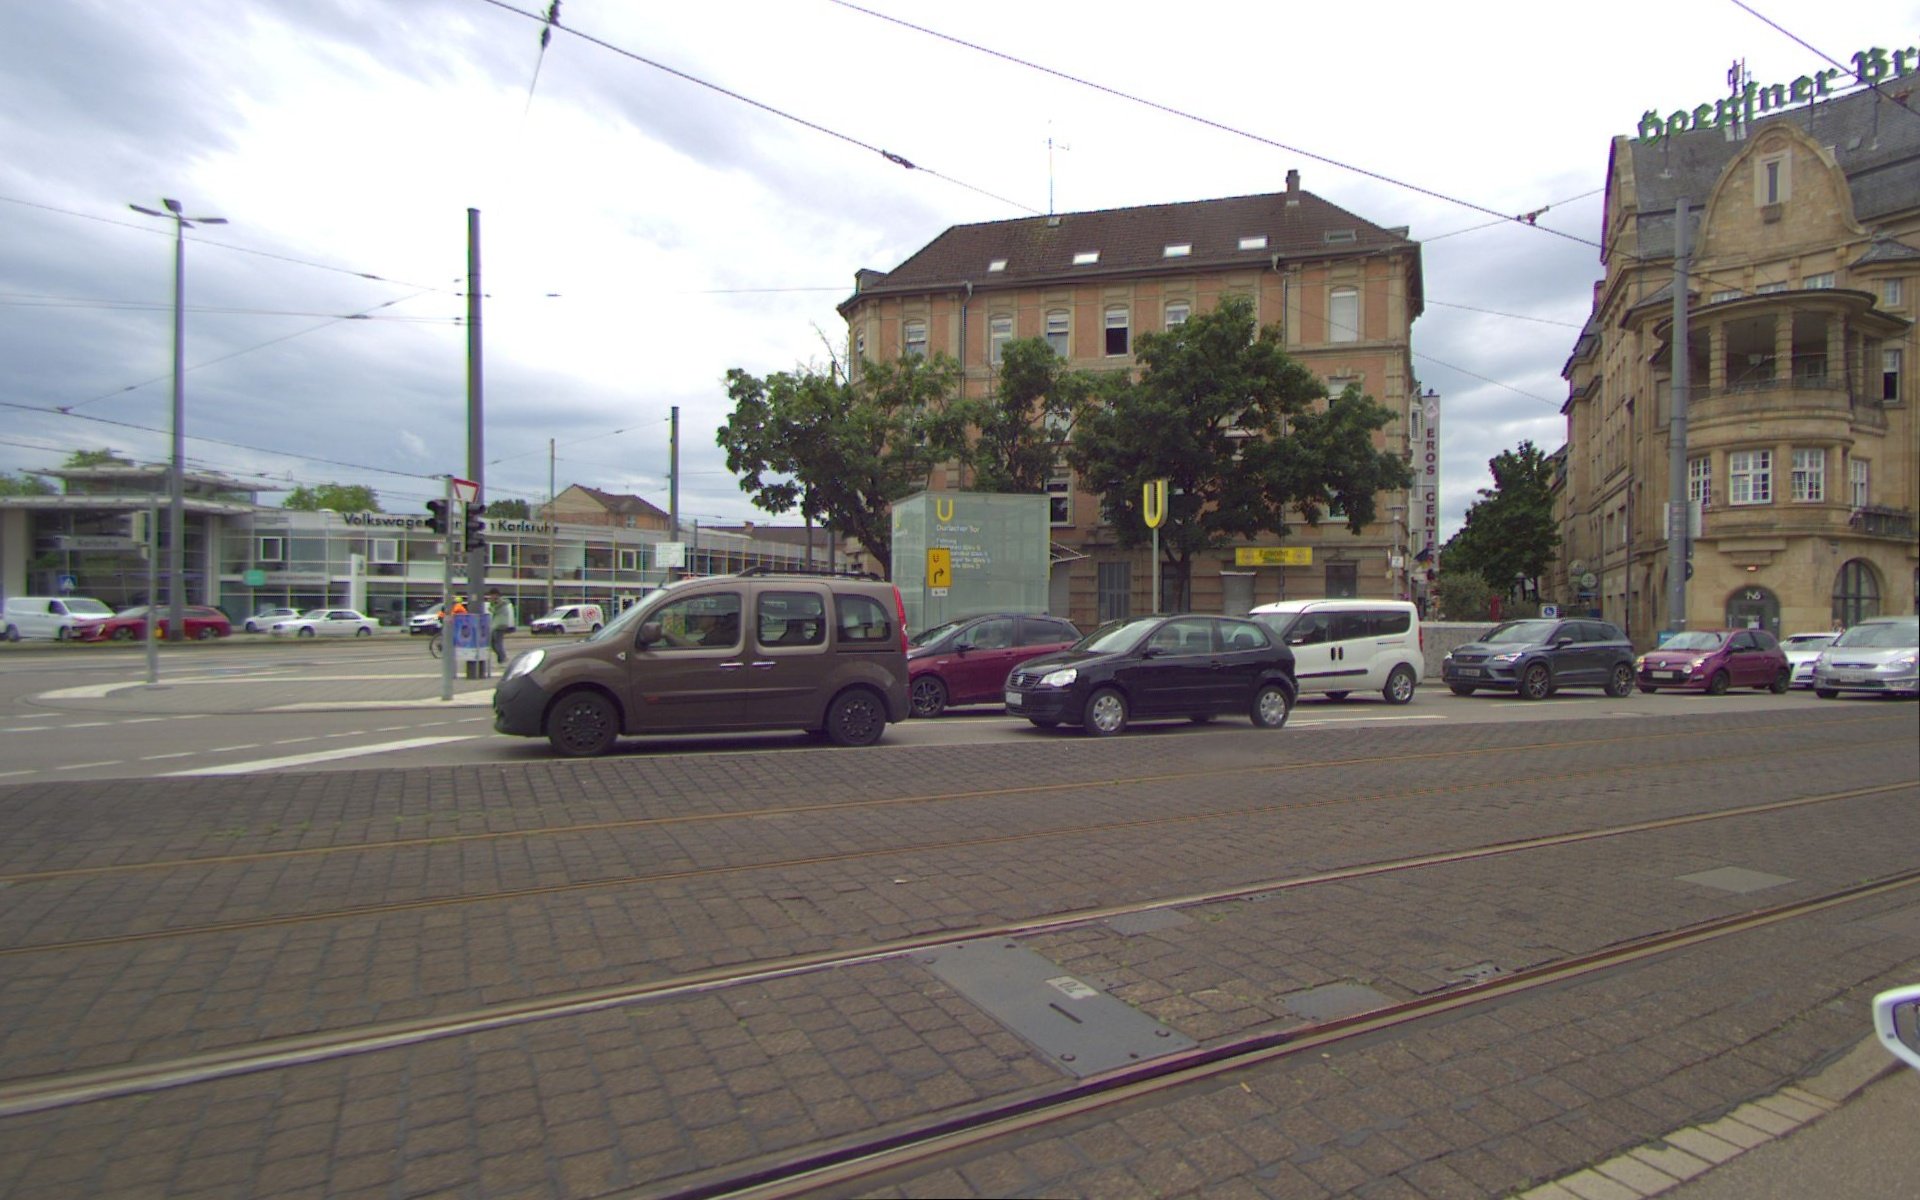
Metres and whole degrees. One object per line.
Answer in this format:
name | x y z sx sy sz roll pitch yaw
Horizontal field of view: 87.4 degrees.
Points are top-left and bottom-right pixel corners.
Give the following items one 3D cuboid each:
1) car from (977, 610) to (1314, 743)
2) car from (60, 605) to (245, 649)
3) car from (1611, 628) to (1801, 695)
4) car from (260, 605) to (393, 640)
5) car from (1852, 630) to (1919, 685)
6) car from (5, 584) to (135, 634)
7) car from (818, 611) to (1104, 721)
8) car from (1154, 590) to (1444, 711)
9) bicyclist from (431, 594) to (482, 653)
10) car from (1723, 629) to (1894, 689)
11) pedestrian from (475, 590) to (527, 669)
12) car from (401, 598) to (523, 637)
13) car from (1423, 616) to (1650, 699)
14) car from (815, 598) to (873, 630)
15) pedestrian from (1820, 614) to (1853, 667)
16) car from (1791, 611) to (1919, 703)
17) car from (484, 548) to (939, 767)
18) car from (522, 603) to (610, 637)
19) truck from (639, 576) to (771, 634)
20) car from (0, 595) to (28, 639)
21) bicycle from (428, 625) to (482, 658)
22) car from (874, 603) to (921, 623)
car | 2.345 0.882 12.638 3.945 1.461 1.684 1 -1 -25
car | -28.579 0.915 35.754 1.962 1.439 4.799 0 0 23
car | 16.882 1.347 22.741 3.842 1.417 1.858 1 -2 -25
car | -28.287 0.975 45.015 1.962 1.439 4.746 0 0 26
car | 26.932 1.561 27.768 4.200 1.398 1.920 1 0 -26
car | -39.390 0.373 44.464 4.685 2.040 2.122 1 -1 17
car | 0.021 0.922 15.009 3.945 1.461 1.684 1 -1 -25
car | 6.117 0.848 18.057 5.029 1.941 1.858 1 0 -24
bicyclist | -14.486 0.676 28.926 0.813 1.642 1.321 0 0 -2
car | 21.327 1.447 25.234 4.306 1.398 1.741 1 -3 -27
pedestrian | -10.324 0.657 22.610 0.895 1.751 0.602 0 0 -3
car | -25.294 0.860 51.258 2.123 1.881 5.442 0 0 26
car | 11.765 1.142 20.503 4.242 1.554 1.859 1 -2 -24
car | -7.317 0.876 63.570 1.881 1.966 4.129 0 0 22
pedestrian | 29.068 1.325 33.322 0.522 1.742 0.632 1 0 -2
car | 19.630 1.127 20.907 4.846 1.728 1.856 1 -2 -27
car | -2.537 0.545 10.480 4.326 1.925 1.684 1 -1 -25
car | -22.433 1.102 57.394 1.964 1.863 4.516 0 0 28
truck | -16.825 0.400 67.180 2.754 3.596 9.203 1 -1 31
car | -32.871 0.547 32.115 1.608 1.439 4.271 0 0 19
bicycle | -14.492 1.176 28.881 0.547 0.860 2.073 0 -1 -2
car | -4.765 1.006 77.026 1.962 1.439 3.997 0 -1 24
